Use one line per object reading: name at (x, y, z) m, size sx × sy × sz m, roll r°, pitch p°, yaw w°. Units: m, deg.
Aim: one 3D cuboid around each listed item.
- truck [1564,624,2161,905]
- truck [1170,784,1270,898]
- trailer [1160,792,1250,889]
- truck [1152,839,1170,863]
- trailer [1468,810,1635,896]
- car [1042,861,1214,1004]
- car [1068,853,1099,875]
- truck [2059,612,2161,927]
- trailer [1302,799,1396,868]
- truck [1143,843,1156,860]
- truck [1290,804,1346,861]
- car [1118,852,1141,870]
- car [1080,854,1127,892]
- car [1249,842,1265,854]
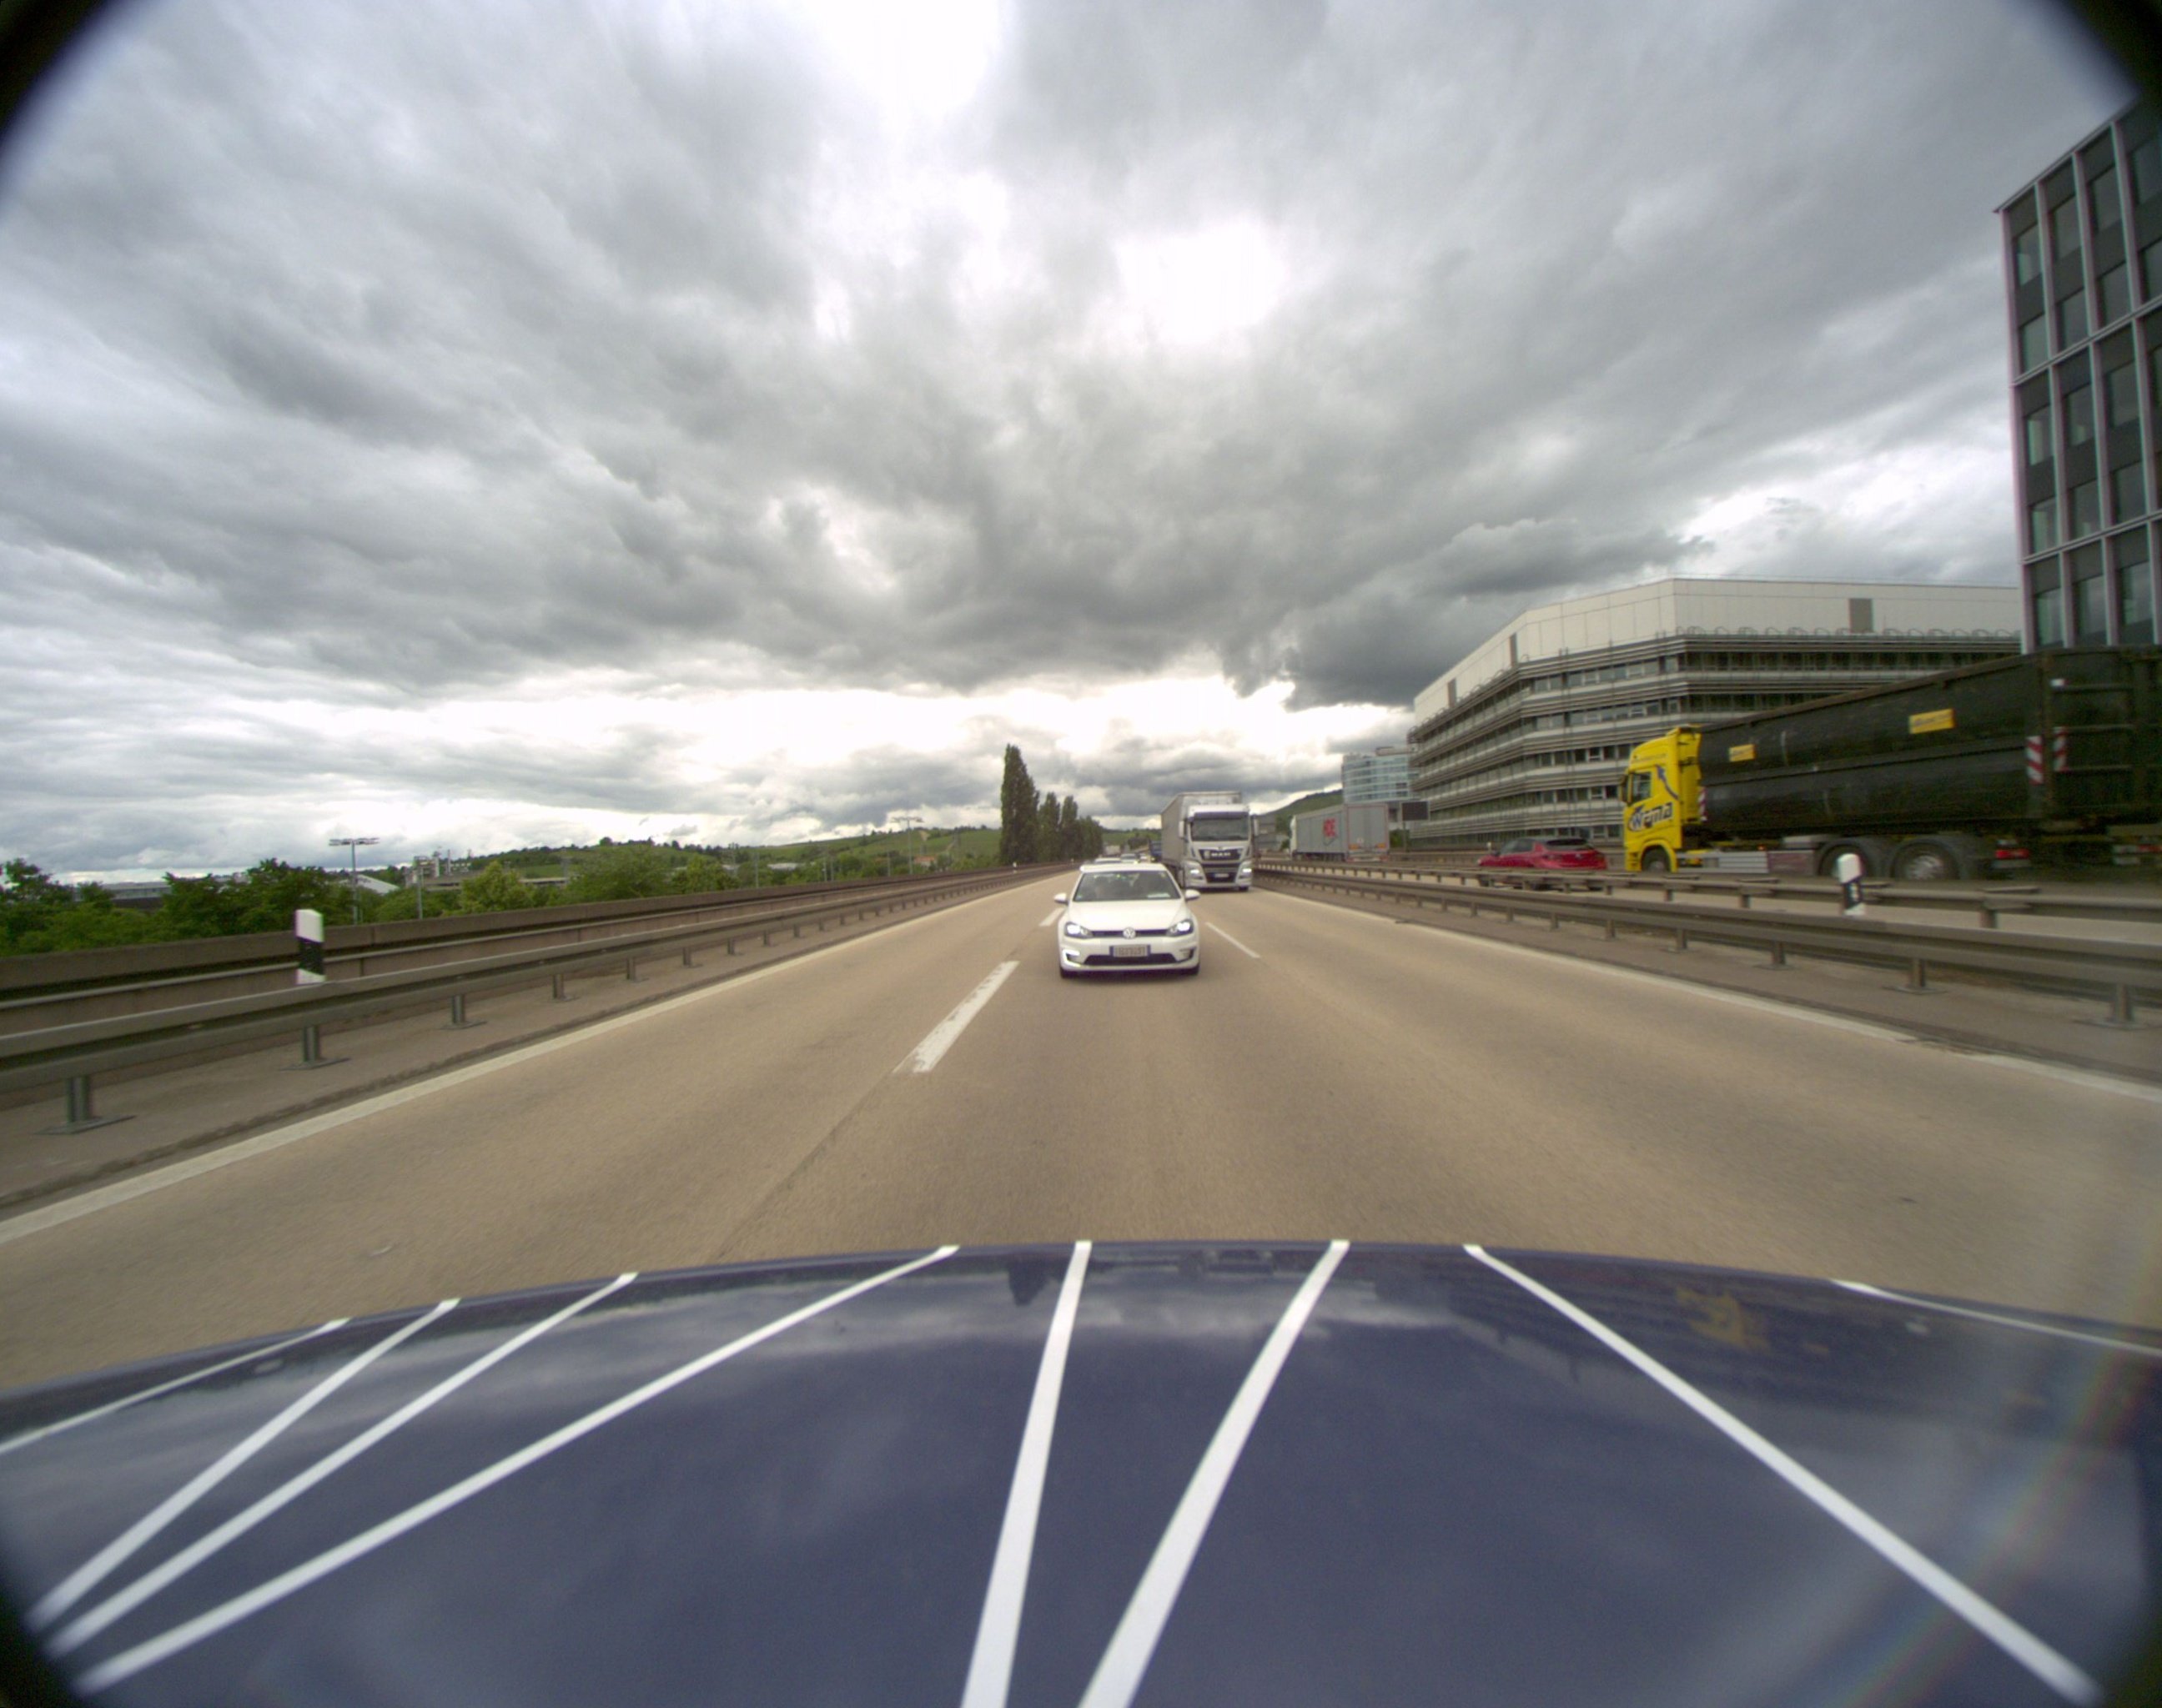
truck at (15.857, -1.385, 17.012) m, size 3.064 × 4.042 × 11.858 m, roll -2°, pitch 1°, yaw 3°
truck at (5.418, -0.512, 30.688) m, size 3.141 × 4.014 × 5.689 m, roll -3°, pitch 1°, yaw 4°
trailer at (5.931, -0.634, 38.494) m, size 3.189 × 4.003 × 11.767 m, roll -3°, pitch 0°, yaw 4°
truck at (11.478, -0.502, 108.614) m, size 2.335 × 3.219 × 6.689 m, roll -2°, pitch 1°, yaw 8°
trailer at (12.336, -0.021, 20.269) m, size 1.998 × 2.002 × 4.000 m, roll -2°, pitch 0°, yaw 2°
car at (0.645, 0.932, 10.798) m, size 1.930 × 1.499 × 4.061 m, roll -2°, pitch 1°, yaw 3°
car at (0.229, 0.768, 59.903) m, size 1.930 × 1.499 × 4.062 m, roll -3°, pitch 1°, yaw 6°
truck at (15.296, -1.092, 6.445) m, size 3.064 × 4.042 × 8.663 m, roll -2°, pitch 1°, yaw 3°
trailer at (17.569, -1.324, 50.862) m, size 2.851 × 3.964 × 11.887 m, roll -2°, pitch 1°, yaw 4°
truck at (14.037, -0.597, 155.350) m, size 2.335 × 3.219 × 6.689 m, roll -2°, pitch 1°, yaw 8°
truck at (18.186, -1.601, 58.728) m, size 2.778 × 4.055 × 5.647 m, roll -2°, pitch 0°, yaw 4°
car at (4.687, 0.658, 73.266) m, size 1.929 × 1.585 × 4.063 m, roll -3°, pitch 1°, yaw 7°
car at (1.105, 0.819, 35.179) m, size 1.930 × 1.499 × 4.062 m, roll -3°, pitch 1°, yaw 4°
car at (27.144, -0.969, 117.361) m, size 1.686 × 1.641 × 4.361 m, roll -3°, pitch 1°, yaw 5°
